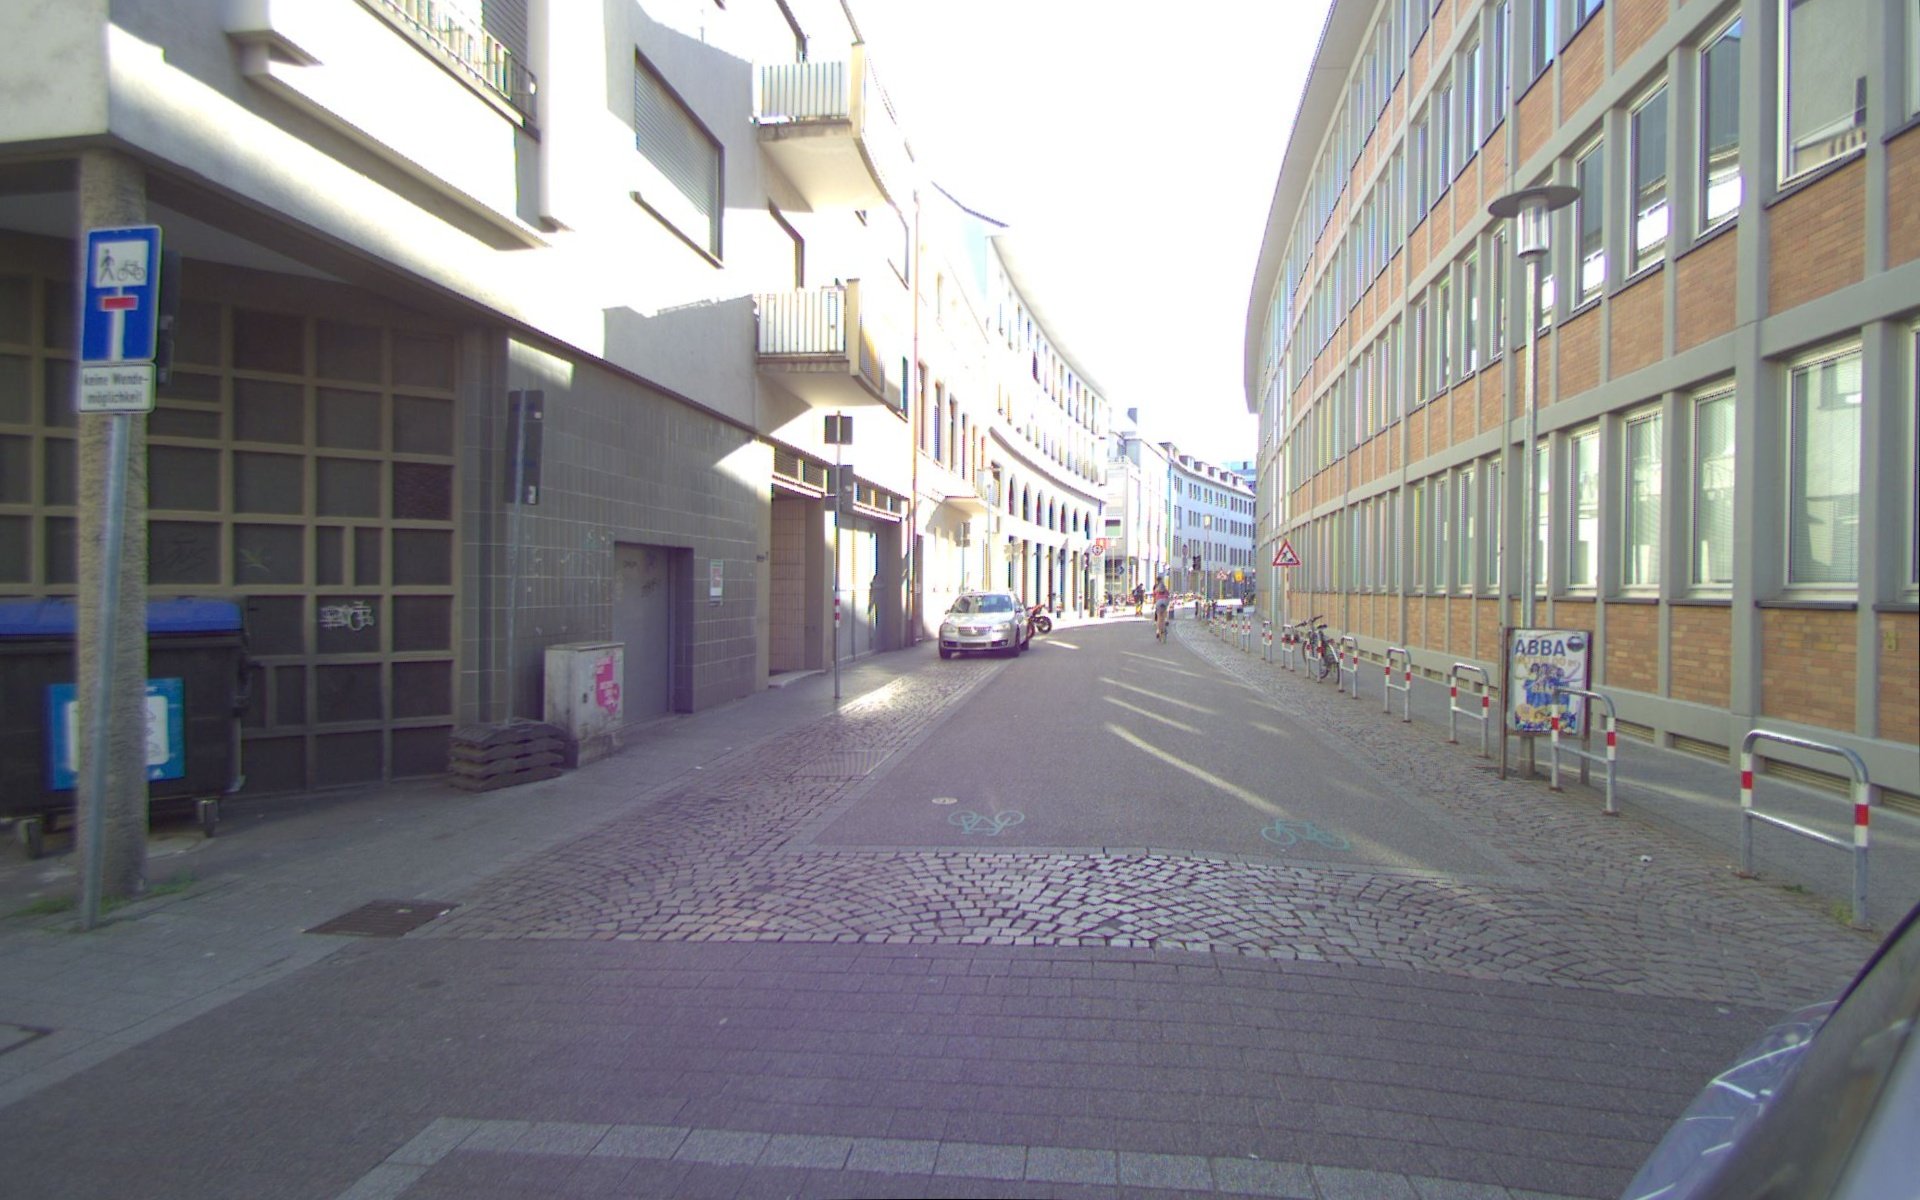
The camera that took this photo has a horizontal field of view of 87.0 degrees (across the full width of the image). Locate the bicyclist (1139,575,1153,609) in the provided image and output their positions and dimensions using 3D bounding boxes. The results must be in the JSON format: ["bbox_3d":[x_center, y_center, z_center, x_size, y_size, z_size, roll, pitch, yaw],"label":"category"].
[{"bbox_3d":[8.641,-0.372,47.058,0.573,1.594,0.688,0,0,16],"label":"bicyclist"}]

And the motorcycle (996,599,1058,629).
[{"bbox_3d":[2.251,0.469,33.991,1.976,0.967,0.640,0,1,23],"label":"motorcycle"}]

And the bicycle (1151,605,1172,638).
[{"bbox_3d":[5.548,0.581,27.831,0.517,0.859,1.484,0,1,13],"label":"bicycle"}]

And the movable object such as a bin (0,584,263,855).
[{"bbox_3d":[-5.181,0.642,6.244,1.407,1.481,1.129,-1,1,-33],"label":"movable object such as a bin"}]

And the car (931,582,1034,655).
[{"bbox_3d":[0.608,0.348,23.017,1.817,1.480,3.989,-1,1,9],"label":"car"}]

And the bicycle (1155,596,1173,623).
[{"bbox_3d":[7.518,0.334,37.188,0.569,0.973,1.712,0,1,14],"label":"bicycle"}]

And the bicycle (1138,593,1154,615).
[{"bbox_3d":[8.680,0.180,47.113,0.614,0.973,1.712,0,1,14],"label":"bicycle"}]

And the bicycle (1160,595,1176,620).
[{"bbox_3d":[8.498,0.295,41.283,0.569,0.973,1.712,0,1,14],"label":"bicycle"}]

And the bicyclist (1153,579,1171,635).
[{"bbox_3d":[5.573,0.184,27.937,0.465,1.522,0.792,0,1,12],"label":"bicyclist"}]

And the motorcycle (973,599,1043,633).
[{"bbox_3d":[1.429,0.456,30.178,1.976,0.967,0.640,0,1,23],"label":"motorcycle"}]

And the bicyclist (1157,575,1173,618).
[{"bbox_3d":[7.605,-0.139,37.531,0.572,1.594,0.689,0,0,14],"label":"bicyclist"}]

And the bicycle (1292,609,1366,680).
[{"bbox_3d":[6.118,0.710,16.887,0.616,1.067,1.822,0,1,2],"label":"bicycle"}]

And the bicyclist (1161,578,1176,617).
[{"bbox_3d":[8.479,-0.115,41.206,0.569,1.553,0.812,0,0,15],"label":"bicyclist"}]
